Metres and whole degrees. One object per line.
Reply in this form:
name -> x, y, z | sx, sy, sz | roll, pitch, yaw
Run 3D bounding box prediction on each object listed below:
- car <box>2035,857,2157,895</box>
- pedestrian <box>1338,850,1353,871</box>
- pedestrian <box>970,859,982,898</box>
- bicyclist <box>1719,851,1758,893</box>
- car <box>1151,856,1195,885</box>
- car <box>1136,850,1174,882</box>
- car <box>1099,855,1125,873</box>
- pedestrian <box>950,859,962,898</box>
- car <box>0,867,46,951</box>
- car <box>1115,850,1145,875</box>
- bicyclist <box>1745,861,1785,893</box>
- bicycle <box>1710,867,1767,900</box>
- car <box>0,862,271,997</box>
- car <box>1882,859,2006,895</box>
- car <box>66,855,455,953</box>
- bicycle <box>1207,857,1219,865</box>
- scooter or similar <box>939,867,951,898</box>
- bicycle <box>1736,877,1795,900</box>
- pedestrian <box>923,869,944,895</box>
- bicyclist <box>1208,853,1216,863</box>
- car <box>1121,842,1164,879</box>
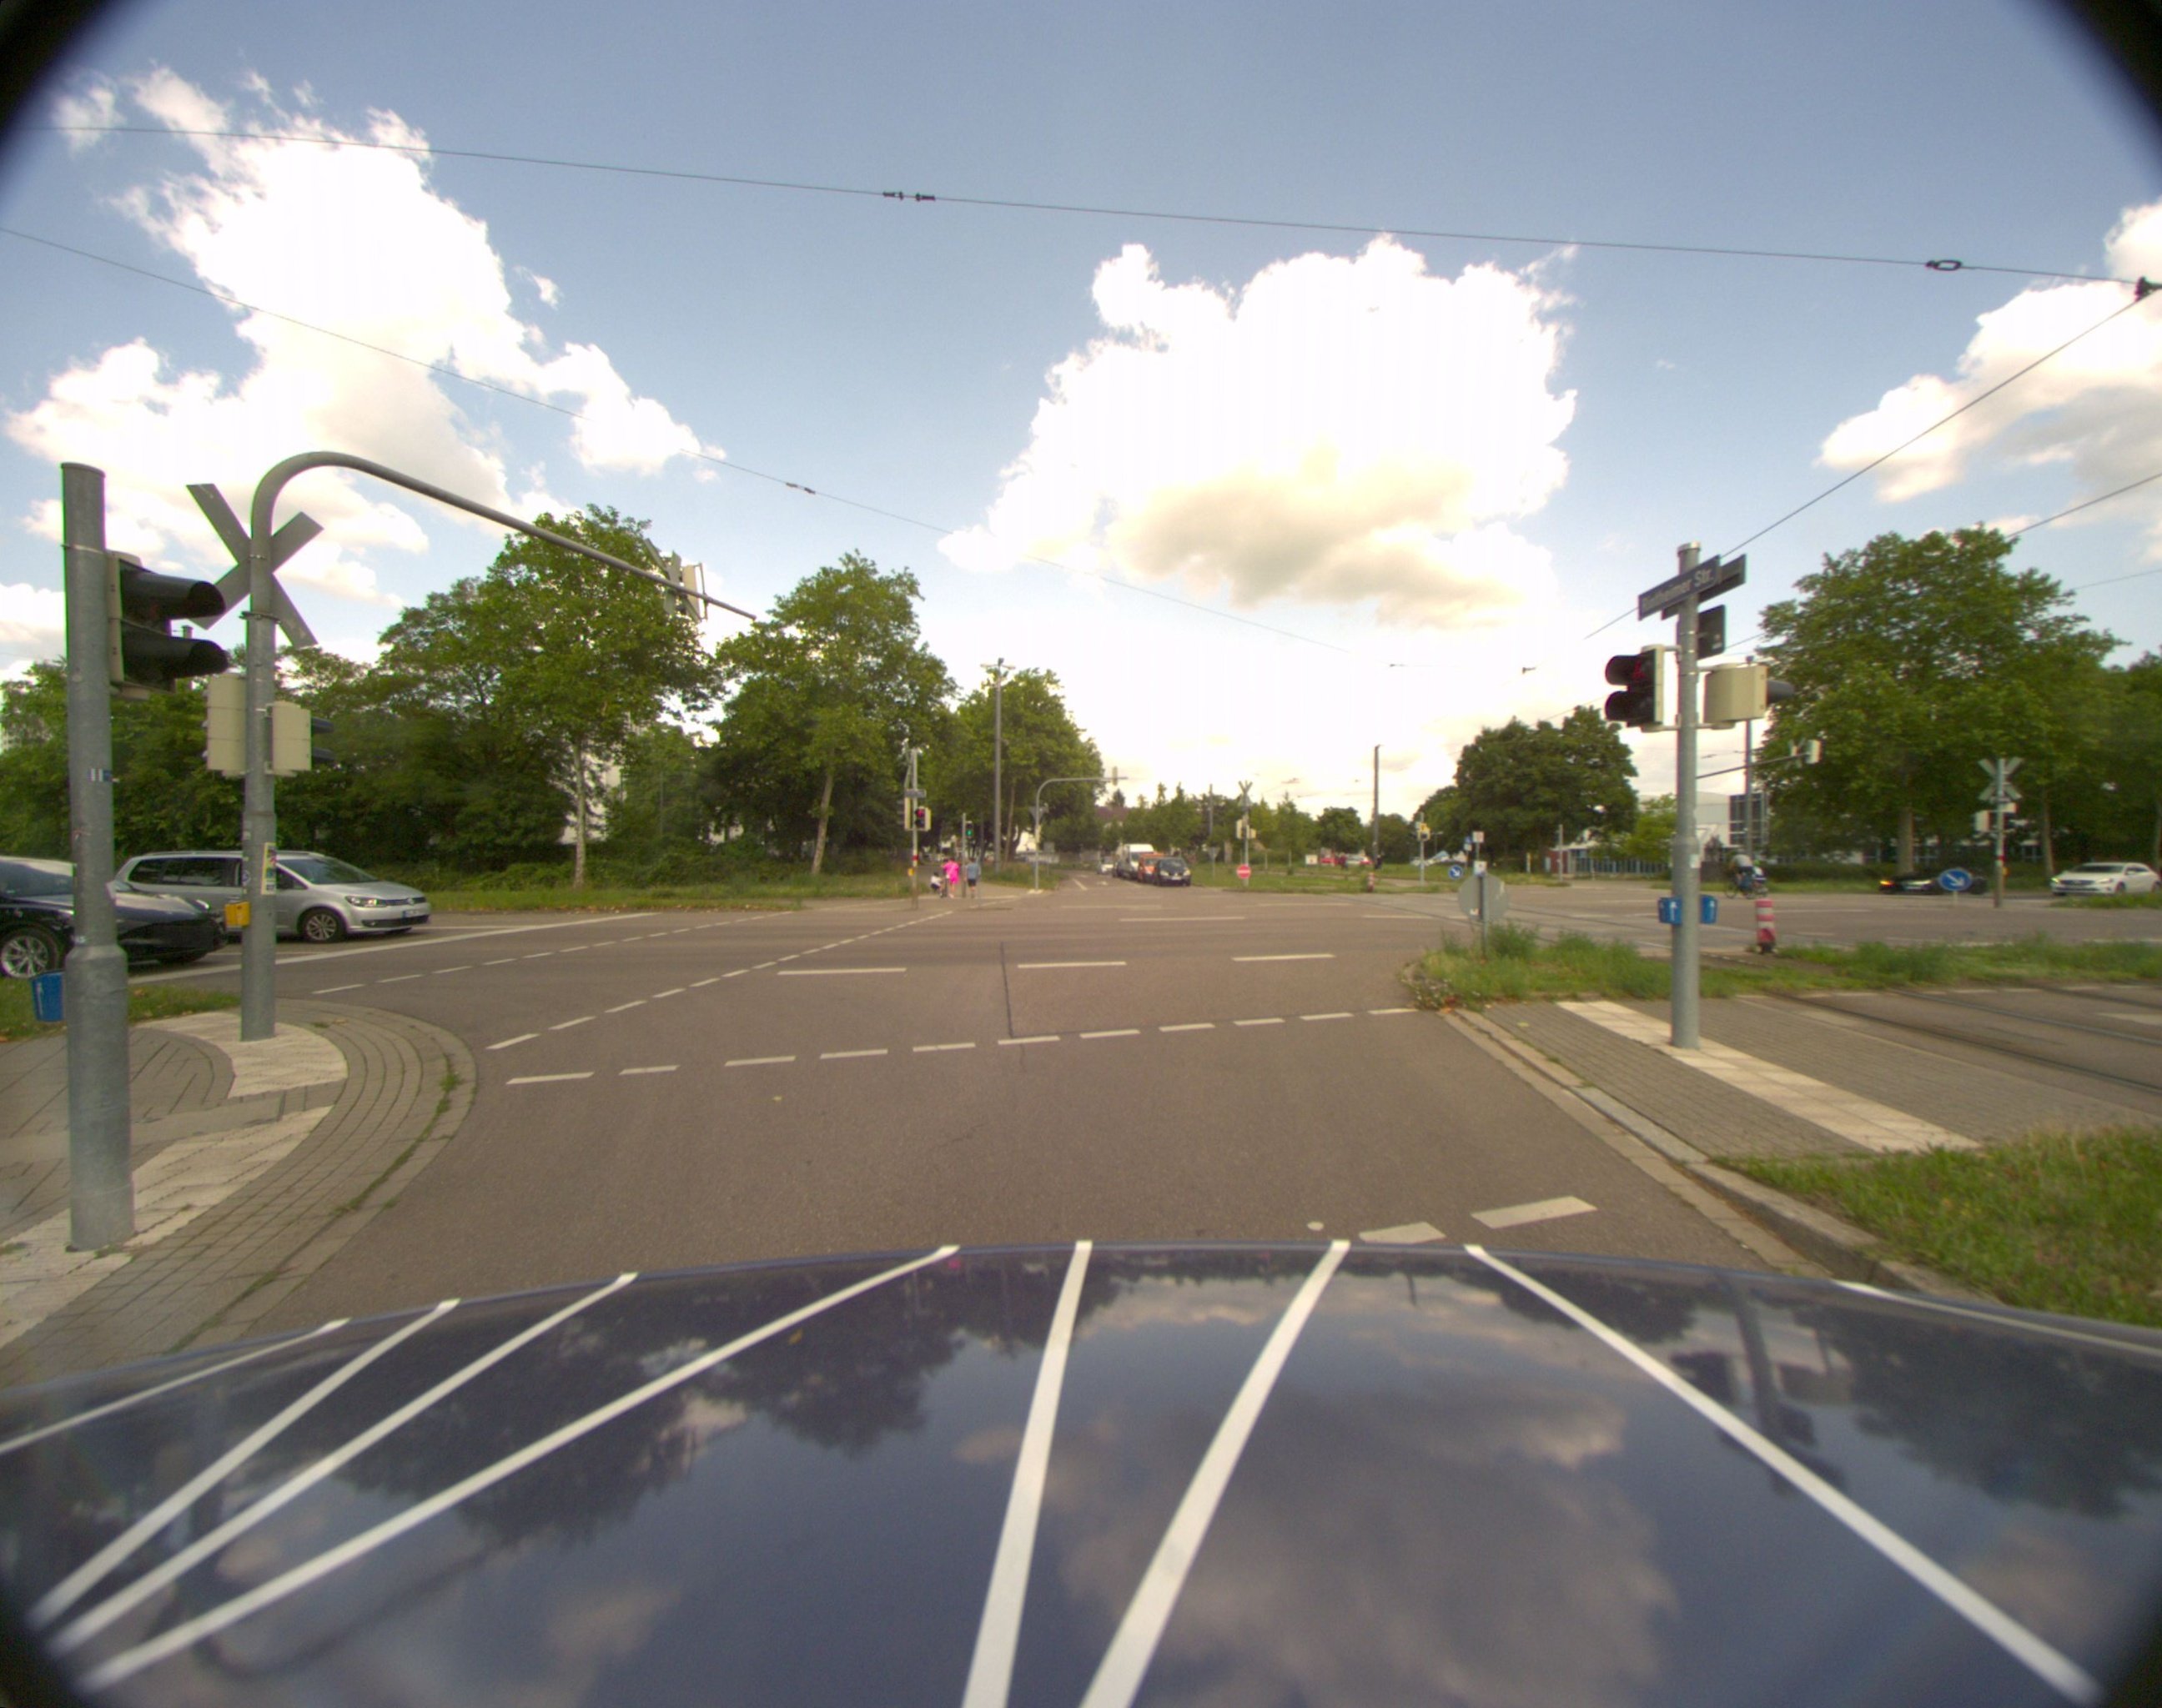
car -> 43.164, 0.913, 32.335 | 3.913, 1.515, 1.697 | 0, 1, -14
pedestrian -> 23.774, 0.613, 68.229 | 0.908, 1.857, 1.002 | 0, 1, -7
pedestrian -> -4.028, 0.935, 29.230 | 0.419, 1.499, 0.451 | 0, 1, -6
bicyclist -> 23.434, 0.635, 27.094 | 0.624, 1.449, 0.929 | 0, 1, 8
car -> 5.041, 0.875, 42.229 | 1.795, 1.530, 3.999 | -1, 0, -3
car -> 4.652, 0.716, 48.314 | 1.795, 1.924, 4.367 | -1, 0, -3
car -> 2.846, 0.900, 70.807 | 1.868, 1.635, 4.232 | -1, 0, -4
pedestrian -> -4.825, 0.934, 29.304 | 0.419, 1.499, 0.392 | 0, 1, -6
car -> -21.576, 1.001, 12.945 | 4.748, 1.461, 1.999 | 0, 1, -5
car -> 3.836, 0.661, 60.562 | 1.795, 1.924, 4.367 | -1, 0, -4
bicyclist -> 24.386, 0.813, 27.088 | 0.640, 1.106, 0.929 | 0, 1, 8
bicycle -> 23.447, 1.029, 27.120 | 0.647, 1.073, 1.806 | 0, 1, 8
car -> -14.452, 0.942, 10.232 | 4.685, 1.601, 1.999 | 0, 1, -4
car -> 38.219, 1.003, 33.702 | 3.856, 1.515, 1.698 | 0, 1, -5
car -> -14.705, 0.845, 13.906 | 4.685, 1.601, 1.999 | 0, 1, -5
bicycle -> 18.260, 0.951, 105.249 | 0.805, 1.053, 2.067 | 0, -1, -14
scooter or similar -> -5.256, 1.098, 29.370 | 0.395, 1.154, 1.115 | 0, 0, -8
bicycle -> 24.392, 1.209, 27.104 | 0.647, 0.713, 1.806 | 0, 0, 8
pedestrian -> -5.992, 1.129, 30.848 | 0.722, 1.028, 0.901 | 0, 0, -4
bicyclist -> 18.220, 0.540, 105.395 | 0.805, 1.461, 0.831 | 0, -1, -14
car -> 4.339, 0.450, 54.848 | 2.239, 2.492, 5.723 | -1, 0, -4
